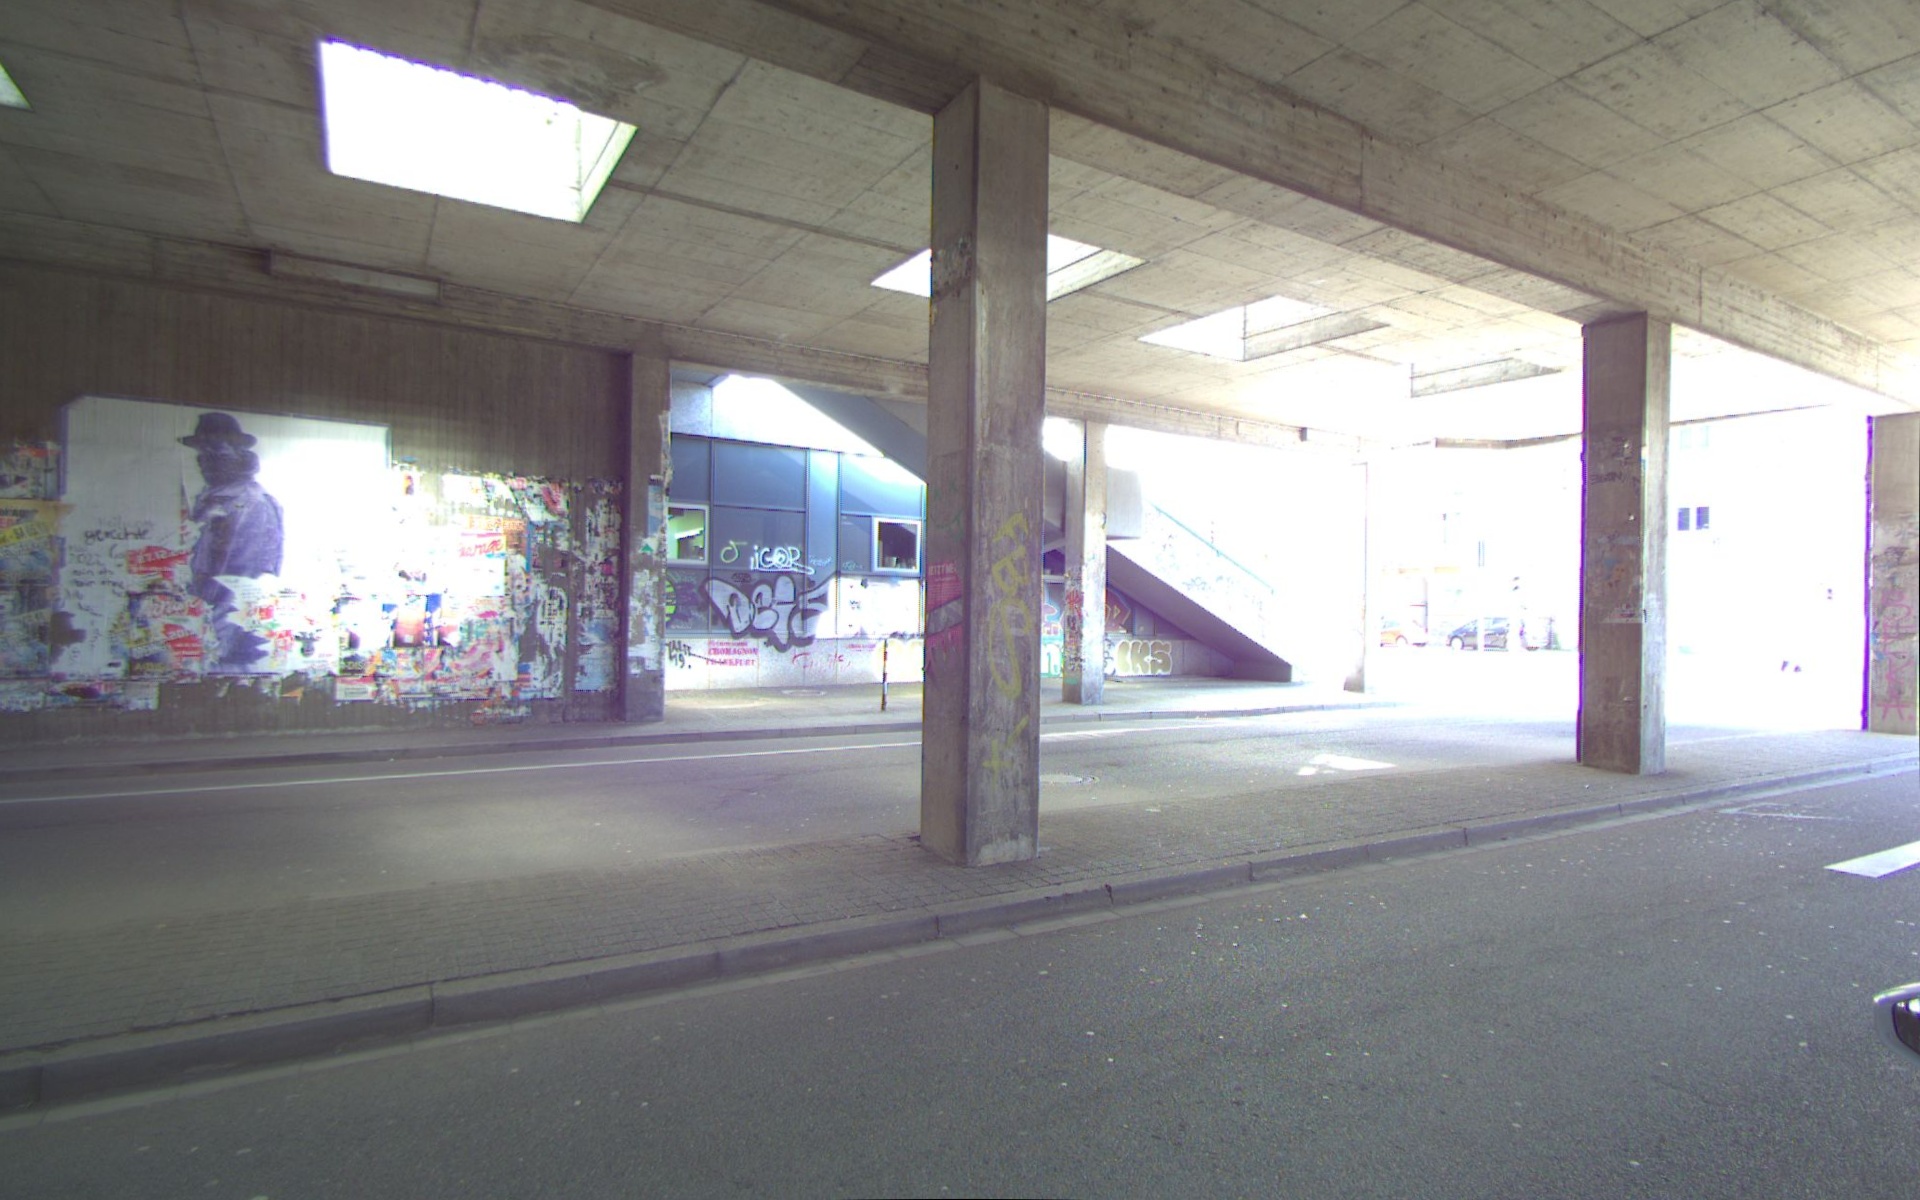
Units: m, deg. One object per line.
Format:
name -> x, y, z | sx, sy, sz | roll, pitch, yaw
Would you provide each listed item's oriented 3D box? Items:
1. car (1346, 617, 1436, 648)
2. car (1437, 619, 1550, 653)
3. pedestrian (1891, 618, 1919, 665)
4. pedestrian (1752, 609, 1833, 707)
car -> 22.530, 1.688, 52.656 | 1.905, 1.428, 3.965 | 2, 0, -32
car -> 25.290, 1.692, 47.771 | 1.905, 1.428, 4.382 | 2, 0, -32
pedestrian -> 34.539, 1.506, 36.622 | 0.732, 1.659, 0.669 | 2, 0, -30
pedestrian -> 15.744, 1.081, 19.005 | 0.784, 1.785, 0.925 | 2, 0, -28
